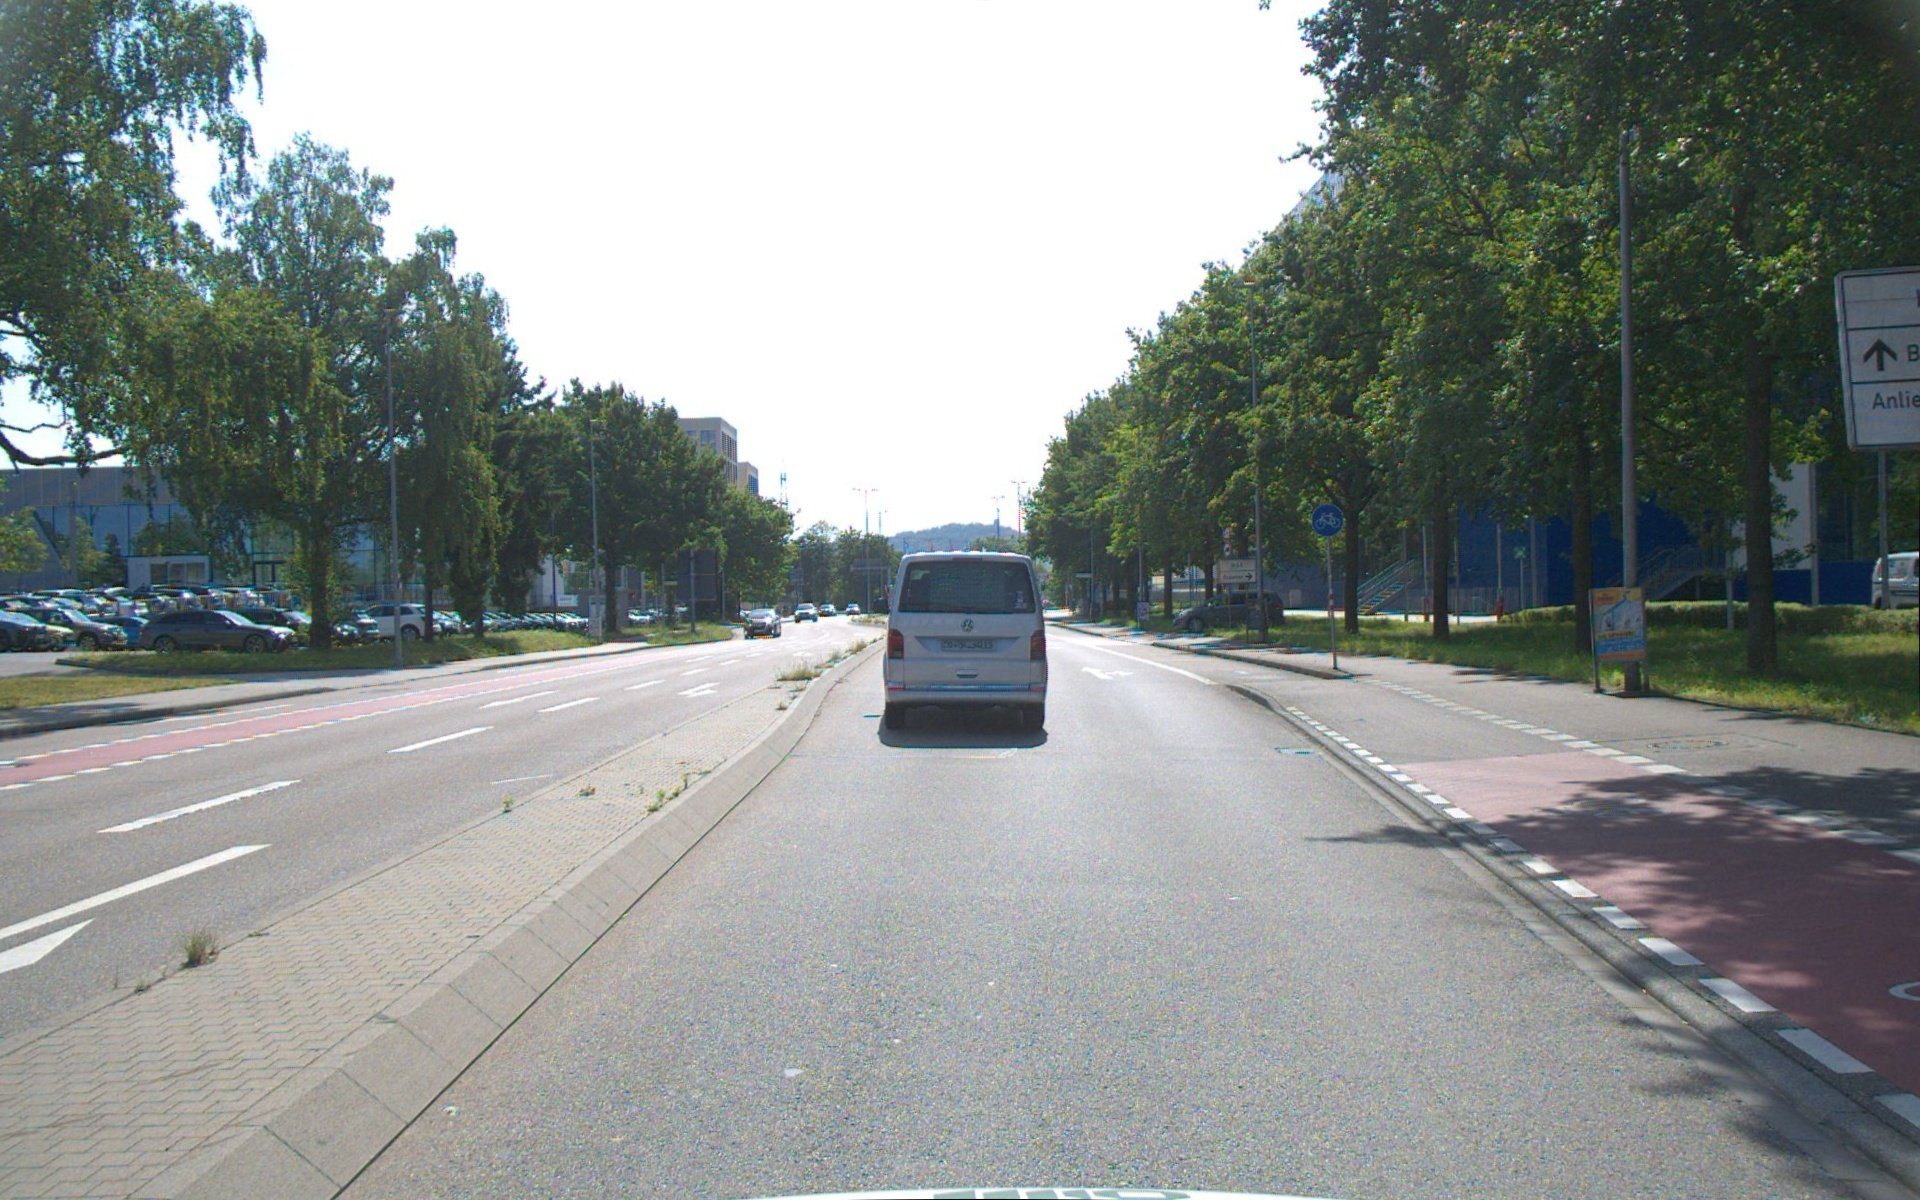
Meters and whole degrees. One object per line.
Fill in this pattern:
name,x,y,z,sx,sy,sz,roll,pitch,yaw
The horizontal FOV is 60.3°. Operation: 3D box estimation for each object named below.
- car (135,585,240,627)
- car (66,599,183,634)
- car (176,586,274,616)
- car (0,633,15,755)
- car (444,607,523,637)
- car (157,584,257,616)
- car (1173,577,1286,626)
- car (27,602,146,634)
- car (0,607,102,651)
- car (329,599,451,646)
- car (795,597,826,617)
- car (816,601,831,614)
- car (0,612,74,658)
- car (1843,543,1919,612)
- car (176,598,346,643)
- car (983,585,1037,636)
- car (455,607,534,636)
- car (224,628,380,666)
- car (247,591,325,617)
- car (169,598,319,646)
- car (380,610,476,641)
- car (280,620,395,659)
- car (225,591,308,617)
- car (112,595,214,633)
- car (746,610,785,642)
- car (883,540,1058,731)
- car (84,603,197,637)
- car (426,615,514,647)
car,-39.945,0.298,85.593,4.410,1.996,1.979,-2,0,-3
car,-39.240,0.773,77.756,4.410,1.511,1.979,-2,0,-3
car,-40.210,0.045,90.547,4.410,1.511,1.979,-2,0,-3
car,-12.017,1.140,17.444,1.602,1.412,4.317,-3,0,-1
car,-24.467,1.129,85.048,3.522,1.307,1.864,-3,0,-3
car,-40.153,0.000,88.260,4.410,1.578,1.979,-2,0,-3
car,10.829,0.069,66.671,4.350,1.723,1.845,-3,0,6
car,-39.708,0.799,75.262,4.410,1.443,1.890,0,0,-3
car,-33.967,1.056,60.522,4.157,1.592,1.804,0,0,-3
car,-23.720,0.922,68.965,4.371,1.908,2.000,0,0,0
car,-12.653,0.584,140.209,1.952,1.646,4.106,-3,0,3
car,-17.858,0.963,216.313,1.704,1.646,4.206,-4,0,-3
car,-33.919,1.226,58.511,4.157,1.592,1.804,0,0,-3
car,23.933,-0.538,40.853,1.813,1.668,4.302,0,0,-3
car,-22.474,0.660,53.308,4.591,1.414,2.000,0,0,-1
car,2.030,0.421,68.158,1.928,2.002,5.123,0,0,-2
car,-24.610,1.131,87.474,3.607,1.307,1.984,-3,0,-3
car,-23.393,1.660,58.951,4.753,1.290,2.000,0,0,-1
car,-39.946,0.222,98.097,3.906,1.522,1.667,0,0,-1
car,-23.924,0.709,55.349,4.128,1.573,2.000,0,0,-1
car,-23.595,1.123,73.452,3.715,1.307,1.743,0,0,-3
car,-23.071,1.450,61.383,3.605,1.395,1.816,0,0,-1
car,-40.003,0.222,95.490,3.906,1.522,2.051,0,0,-1
car,-39.812,0.686,82.670,4.183,1.735,1.664,-2,0,-3
car,-10.387,1.354,88.521,1.663,1.545,4.026,-3,0,-1
car,0.082,0.370,19.518,1.846,2.025,3.999,0,0,-1
car,-39.668,0.963,80.143,4.410,1.511,1.979,-2,0,-3
car,-24.497,1.539,82.712,3.810,1.363,1.839,-3,0,-3
